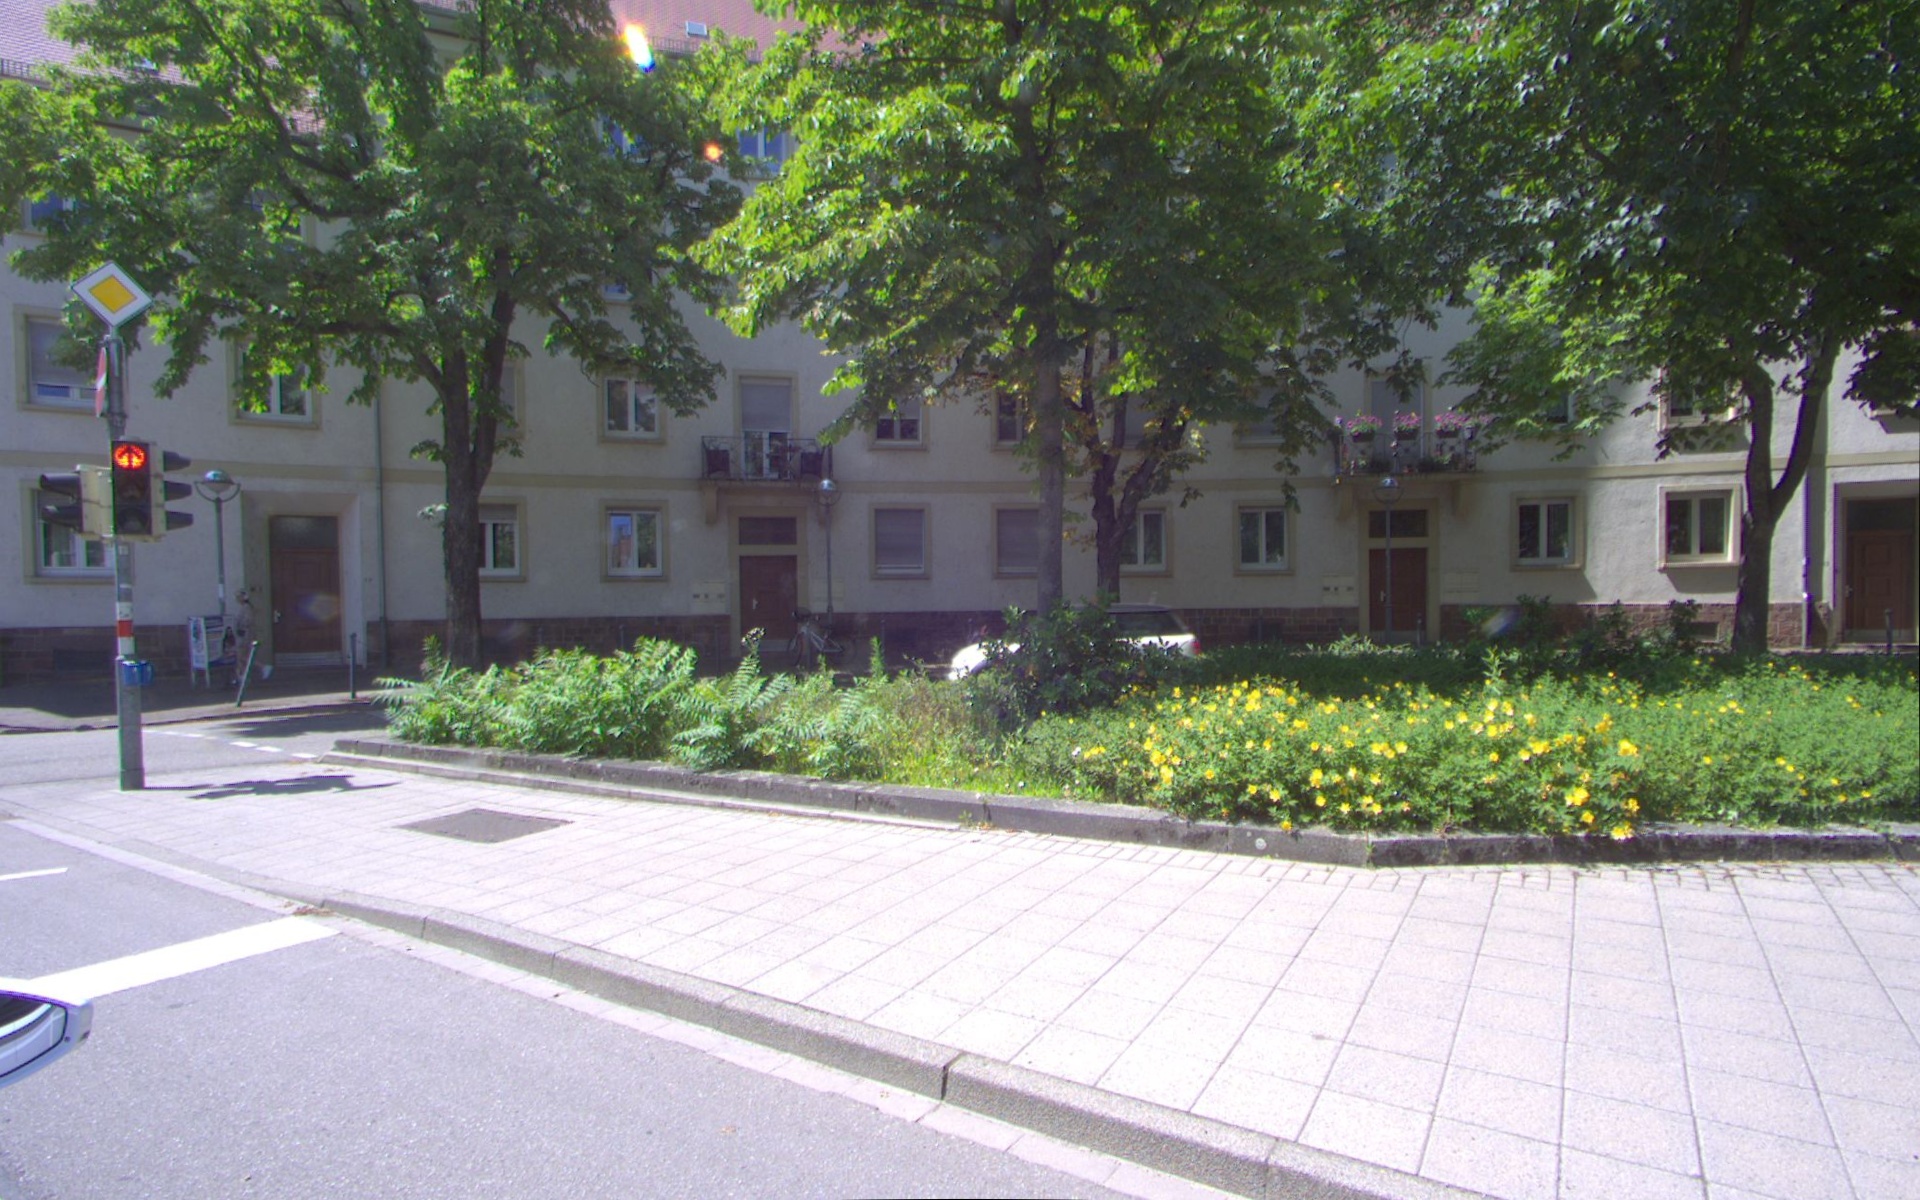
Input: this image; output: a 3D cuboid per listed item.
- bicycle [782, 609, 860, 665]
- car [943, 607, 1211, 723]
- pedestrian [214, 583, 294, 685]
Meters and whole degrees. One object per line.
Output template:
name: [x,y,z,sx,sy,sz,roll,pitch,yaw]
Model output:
bicycle: [-2.884,0.759,20.874,1.575,1.119,0.525,-1,1,-4]
car: [1.589,0.878,14.317,3.581,1.526,1.705,0,0,1]
pedestrian: [-12.886,0.598,18.310,1.043,1.715,0.648,-5,8,-33]
